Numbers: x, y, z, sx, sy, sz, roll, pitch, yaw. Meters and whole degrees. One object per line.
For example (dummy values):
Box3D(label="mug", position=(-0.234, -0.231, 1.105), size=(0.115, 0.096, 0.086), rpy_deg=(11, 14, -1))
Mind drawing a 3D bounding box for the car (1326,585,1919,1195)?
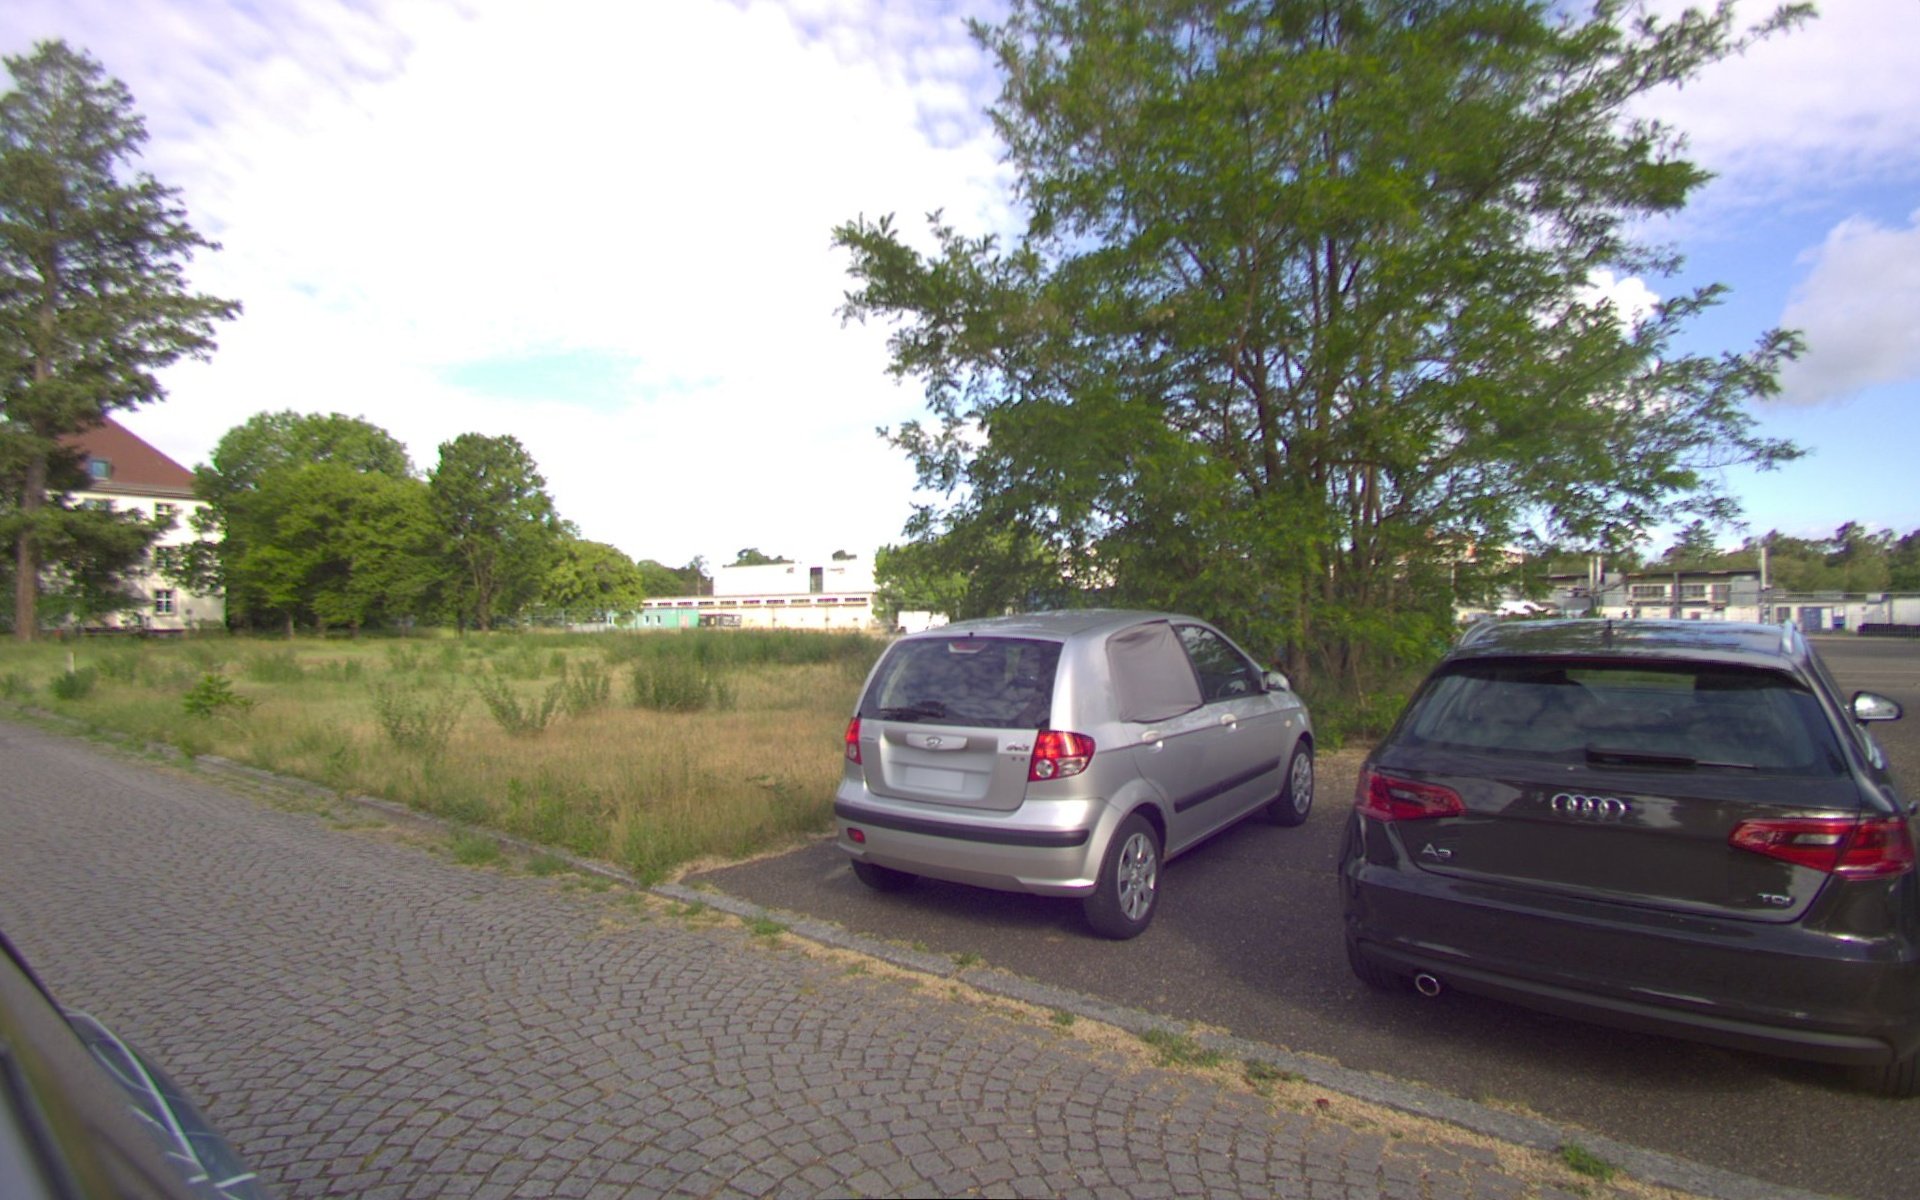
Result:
Box3D(label="car", position=(3.064, 0.709, 4.353), size=(1.693, 1.419, 3.800), rpy_deg=(-1, 1, 38))

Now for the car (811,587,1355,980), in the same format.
Box3D(label="car", position=(0.980, 0.729, 5.963), size=(1.644, 1.486, 3.545), rpy_deg=(-1, 1, 36))
